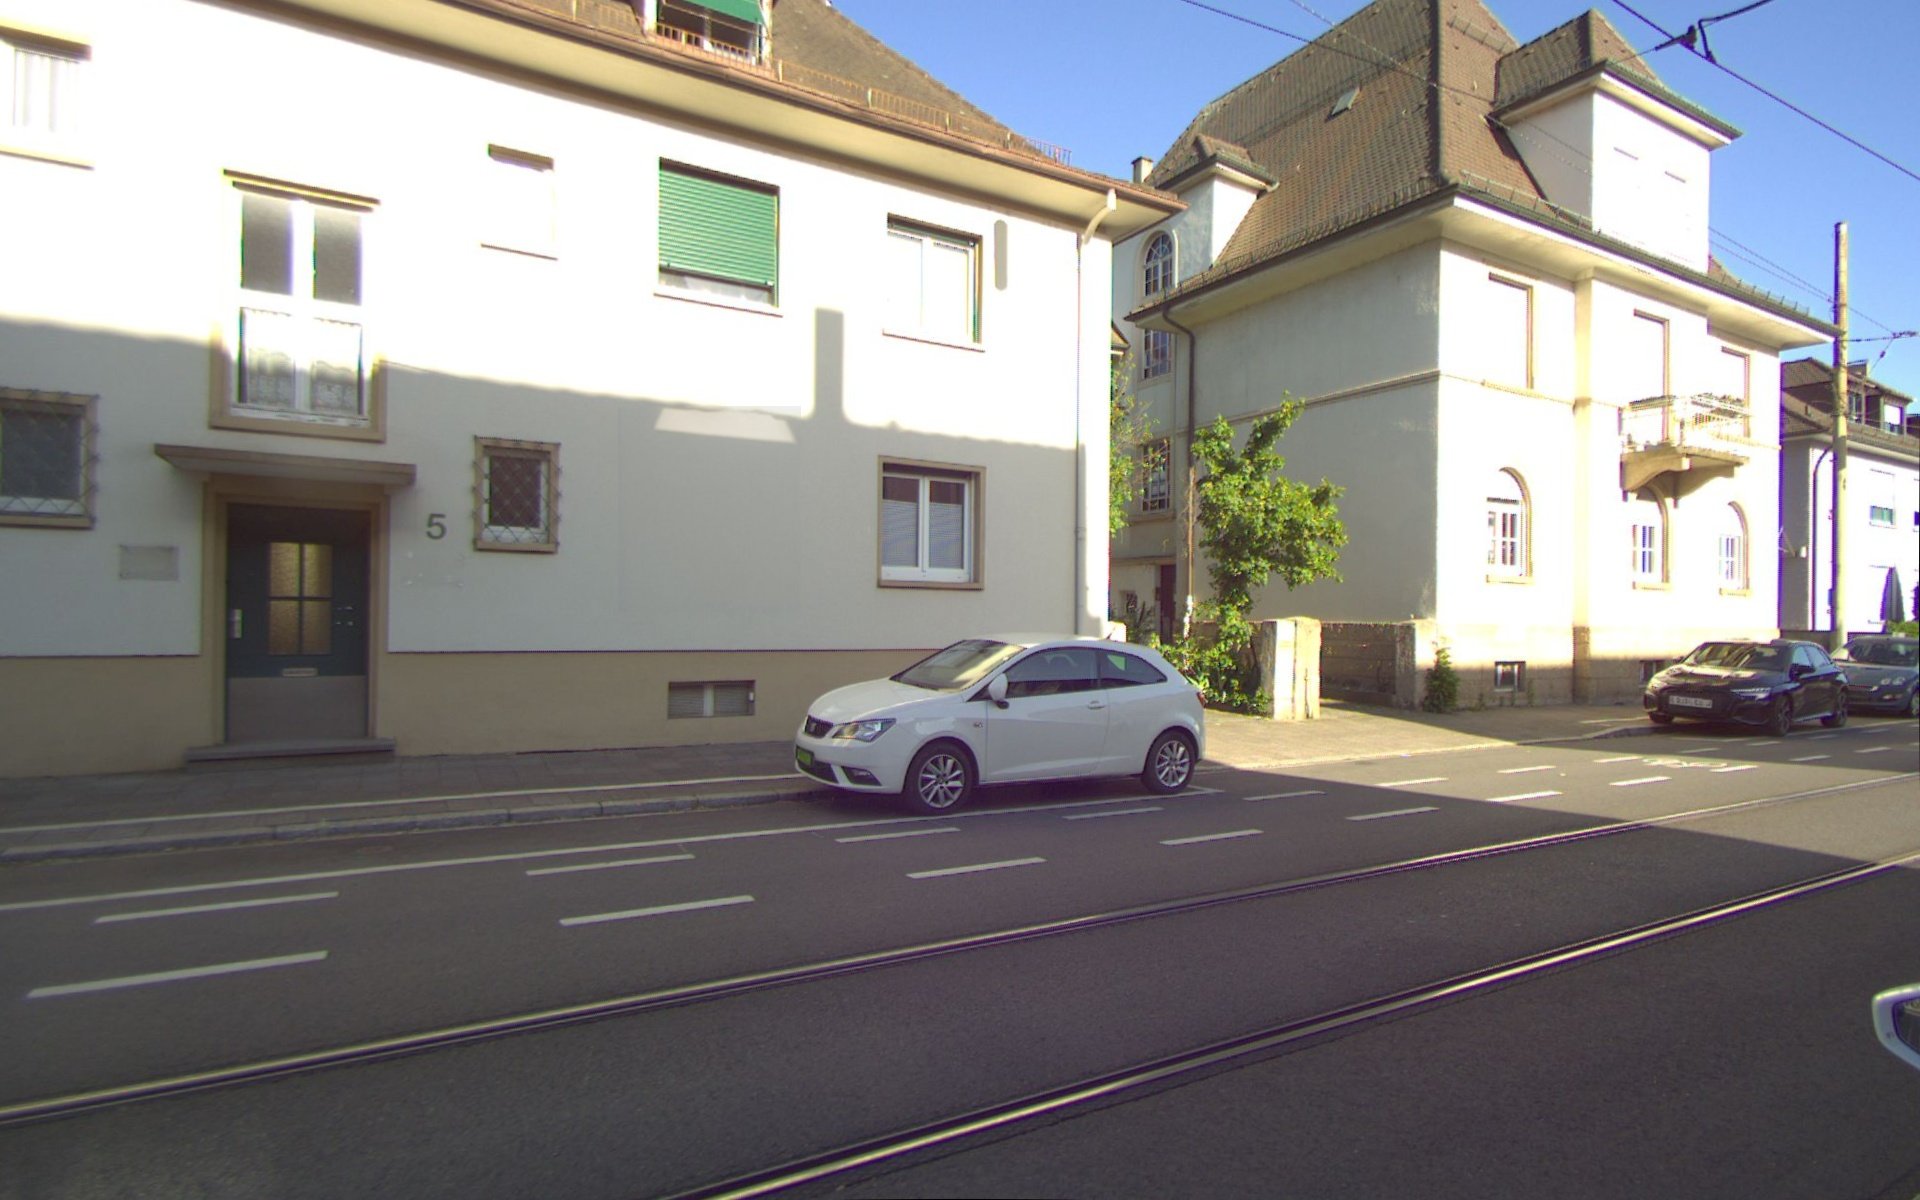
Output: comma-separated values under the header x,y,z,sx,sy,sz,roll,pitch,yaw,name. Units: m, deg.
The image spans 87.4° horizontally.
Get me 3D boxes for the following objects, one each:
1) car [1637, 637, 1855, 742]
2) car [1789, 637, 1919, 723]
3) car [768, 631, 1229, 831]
x,y,z,sx,sy,sz,roll,pitch,yaw,name
13.041,1.384,16.597,4.207,1.496,1.652,1,-1,-34,car
18.469,1.525,20.111,3.790,1.497,1.668,1,0,-30,car
0.419,1.048,9.157,3.968,1.476,1.624,2,-3,-30,car
